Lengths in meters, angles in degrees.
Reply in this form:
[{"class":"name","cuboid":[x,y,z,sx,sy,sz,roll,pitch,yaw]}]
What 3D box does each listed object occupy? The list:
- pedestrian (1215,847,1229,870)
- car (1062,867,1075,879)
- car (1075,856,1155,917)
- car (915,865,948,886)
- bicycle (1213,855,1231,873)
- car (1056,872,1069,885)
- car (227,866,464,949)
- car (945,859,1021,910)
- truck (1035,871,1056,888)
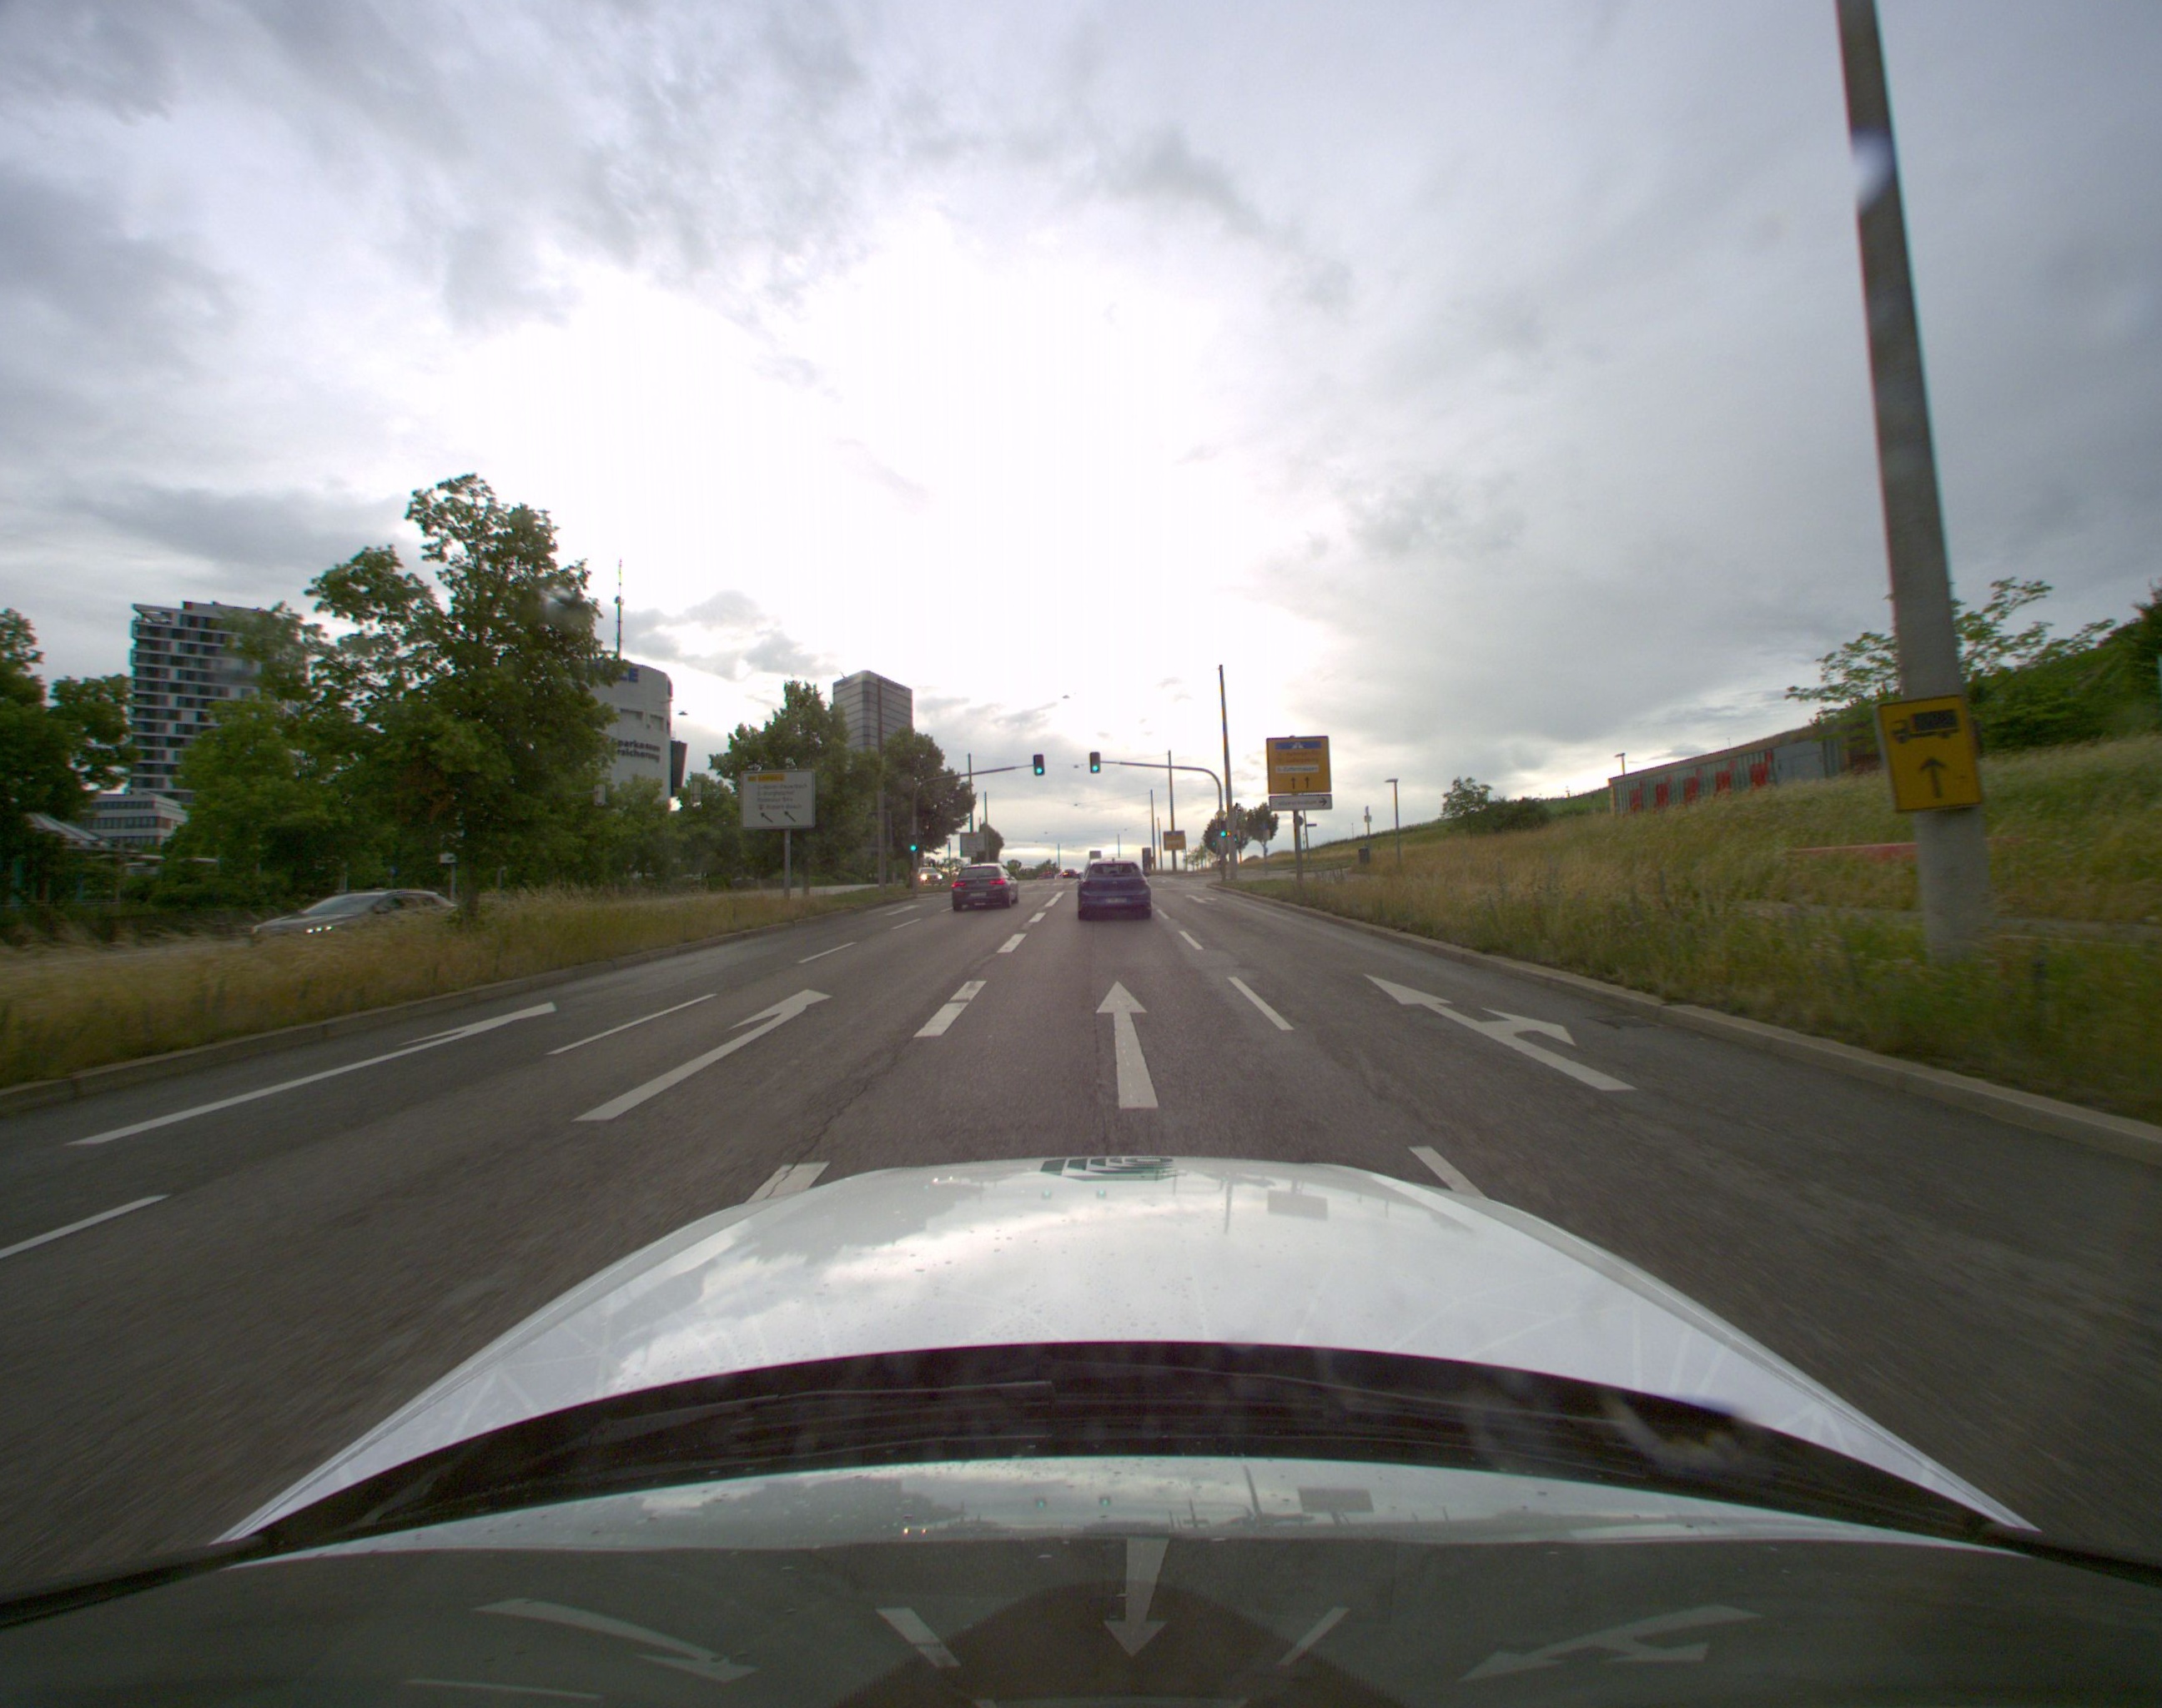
[{"class":"pedestrian","cuboid":[10.024,0.350,57.822,0.632,1.571,0.893,-4,-2,-8]},{"class":"car","cuboid":[-1.680,2.558,109.052,1.717,1.541,3.701,0,-1,-1]},{"class":"car","cuboid":[0.851,0.765,20.678,1.831,1.393,4.002,0,0,2]},{"class":"car","cuboid":[-12.041,1.710,65.343,1.896,1.507,3.972,-2,0,-21]},{"class":"bicycle","cuboid":[10.028,0.712,57.844,0.632,1.105,1.748,-5,-3,-8]},{"class":"car","cuboid":[-3.328,4.425,146.279,1.902,1.973,5.079,-3,-4,-6]},{"class":"car","cuboid":[-17.090,1.157,19.255,1.989,1.639,4.016,-1,0,-2]},{"class":"car","cuboid":[-3.069,0.939,26.273,1.863,1.461,3.976,-2,-1,0]},{"class":"truck","cuboid":[-7.150,5.053,162.624,2.672,3.221,6.511,0,-3,-16]}]
